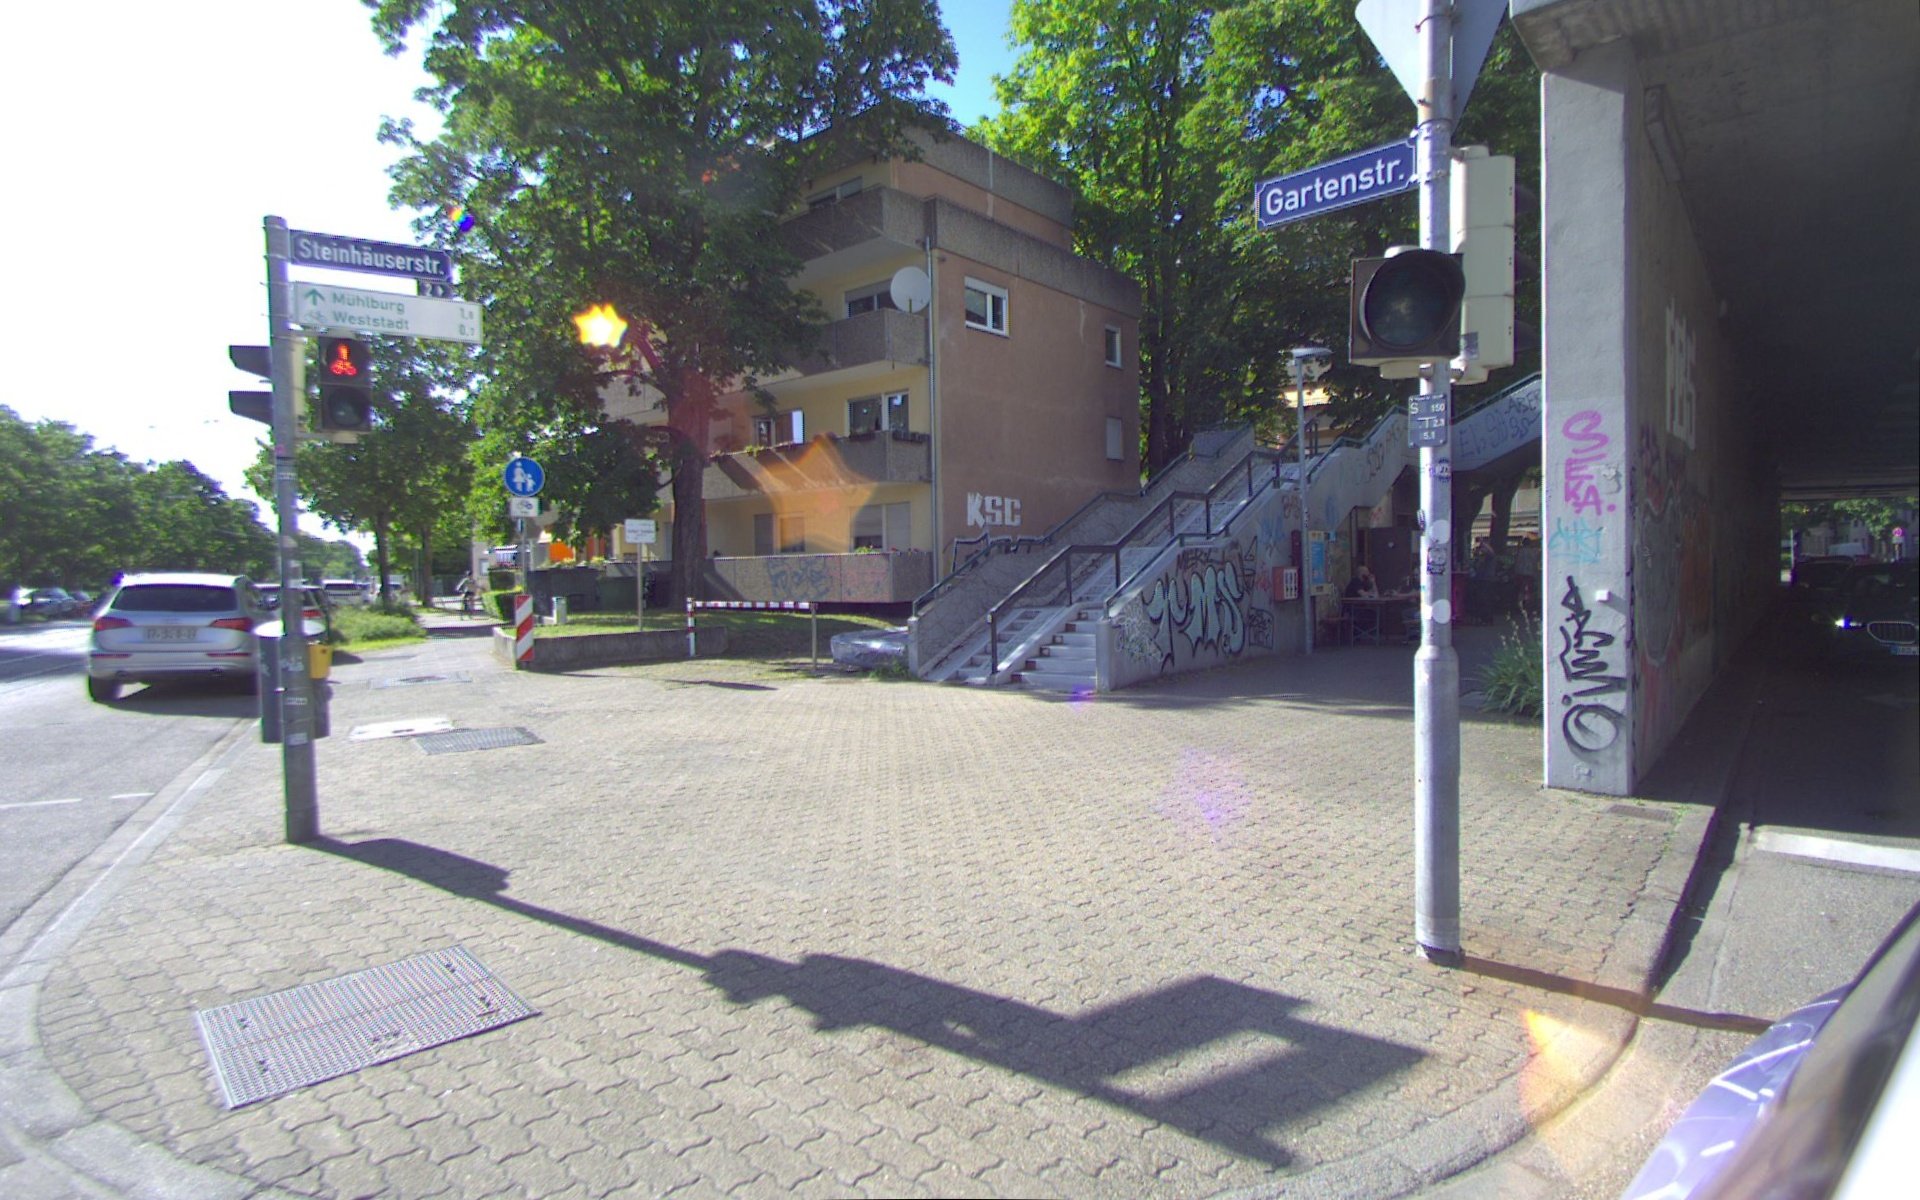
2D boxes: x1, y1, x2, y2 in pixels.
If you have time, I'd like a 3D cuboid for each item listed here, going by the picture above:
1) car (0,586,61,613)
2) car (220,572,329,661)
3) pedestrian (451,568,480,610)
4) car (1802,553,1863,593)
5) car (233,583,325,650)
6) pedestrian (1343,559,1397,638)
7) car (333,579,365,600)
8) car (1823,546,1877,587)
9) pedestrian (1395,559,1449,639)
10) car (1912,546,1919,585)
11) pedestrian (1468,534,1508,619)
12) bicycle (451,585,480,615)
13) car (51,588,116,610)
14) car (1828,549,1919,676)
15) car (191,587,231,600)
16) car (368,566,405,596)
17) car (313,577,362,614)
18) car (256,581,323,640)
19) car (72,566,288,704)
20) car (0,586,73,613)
[{"bbox_3d":[-45.604,-0.020,49.041,2.849,1.191,1.256,-3,2,-33],"label":"car"},{"bbox_3d":[-13.364,0.247,19.752,1.625,1.551,3.509,0,2,-34],"label":"car"},{"bbox_3d":[-18.701,-0.431,38.262,0.860,1.572,0.936,-2,1,-21],"label":"pedestrian"},{"bbox_3d":[32.044,-1.008,37.157,1.611,1.392,4.138,1,2,41],"label":"car"},{"bbox_3d":[-15.842,0.325,23.668,1.633,1.423,3.296,0,2,-31],"label":"car"},{"bbox_3d":[7.043,-0.031,17.384,0.735,1.314,0.606,0,2,35],"label":"pedestrian"},{"bbox_3d":[-44.126,-0.785,73.113,1.729,1.474,3.698,-2,2,-28],"label":"car"},{"bbox_3d":[36.404,-1.386,41.409,1.611,1.574,3.954,0,2,41],"label":"car"},{"bbox_3d":[7.729,-0.028,16.928,0.719,1.314,0.582,0,2,35],"label":"pedestrian"},{"bbox_3d":[39.766,-1.427,41.010,1.611,1.574,3.954,0,2,41],"label":"car"},{"bbox_3d":[10.857,-0.487,20.810,0.654,1.712,0.582,0,2,35],"label":"pedestrian"},{"bbox_3d":[-18.744,-0.009,38.375,0.793,1.074,2.197,-2,2,-21],"label":"bicycle"},{"bbox_3d":[-54.810,-0.084,63.344,2.887,1.265,1.407,-3,2,-33],"label":"car"},{"bbox_3d":[13.663,0.064,14.380,1.951,1.575,4.966,0,2,41],"label":"car"},{"bbox_3d":[-78.679,-0.706,106.359,3.274,1.265,1.452,-3,2,-33],"label":"car"},{"bbox_3d":[-33.921,-1.159,59.937,1.774,1.695,3.882,-2,2,-28],"label":"car"},{"bbox_3d":[-28.046,-0.233,45.678,1.774,1.567,3.540,0,2,-30],"label":"car"},{"bbox_3d":[-18.325,0.232,27.668,1.456,1.479,3.371,0,2,-34],"label":"car"},{"bbox_3d":[-11.078,0.348,14.702,1.898,1.639,4.328,-2,3,-30],"label":"car"},{"bbox_3d":[-46.699,-0.034,50.969,2.849,1.265,1.256,-3,2,-33],"label":"car"}]
